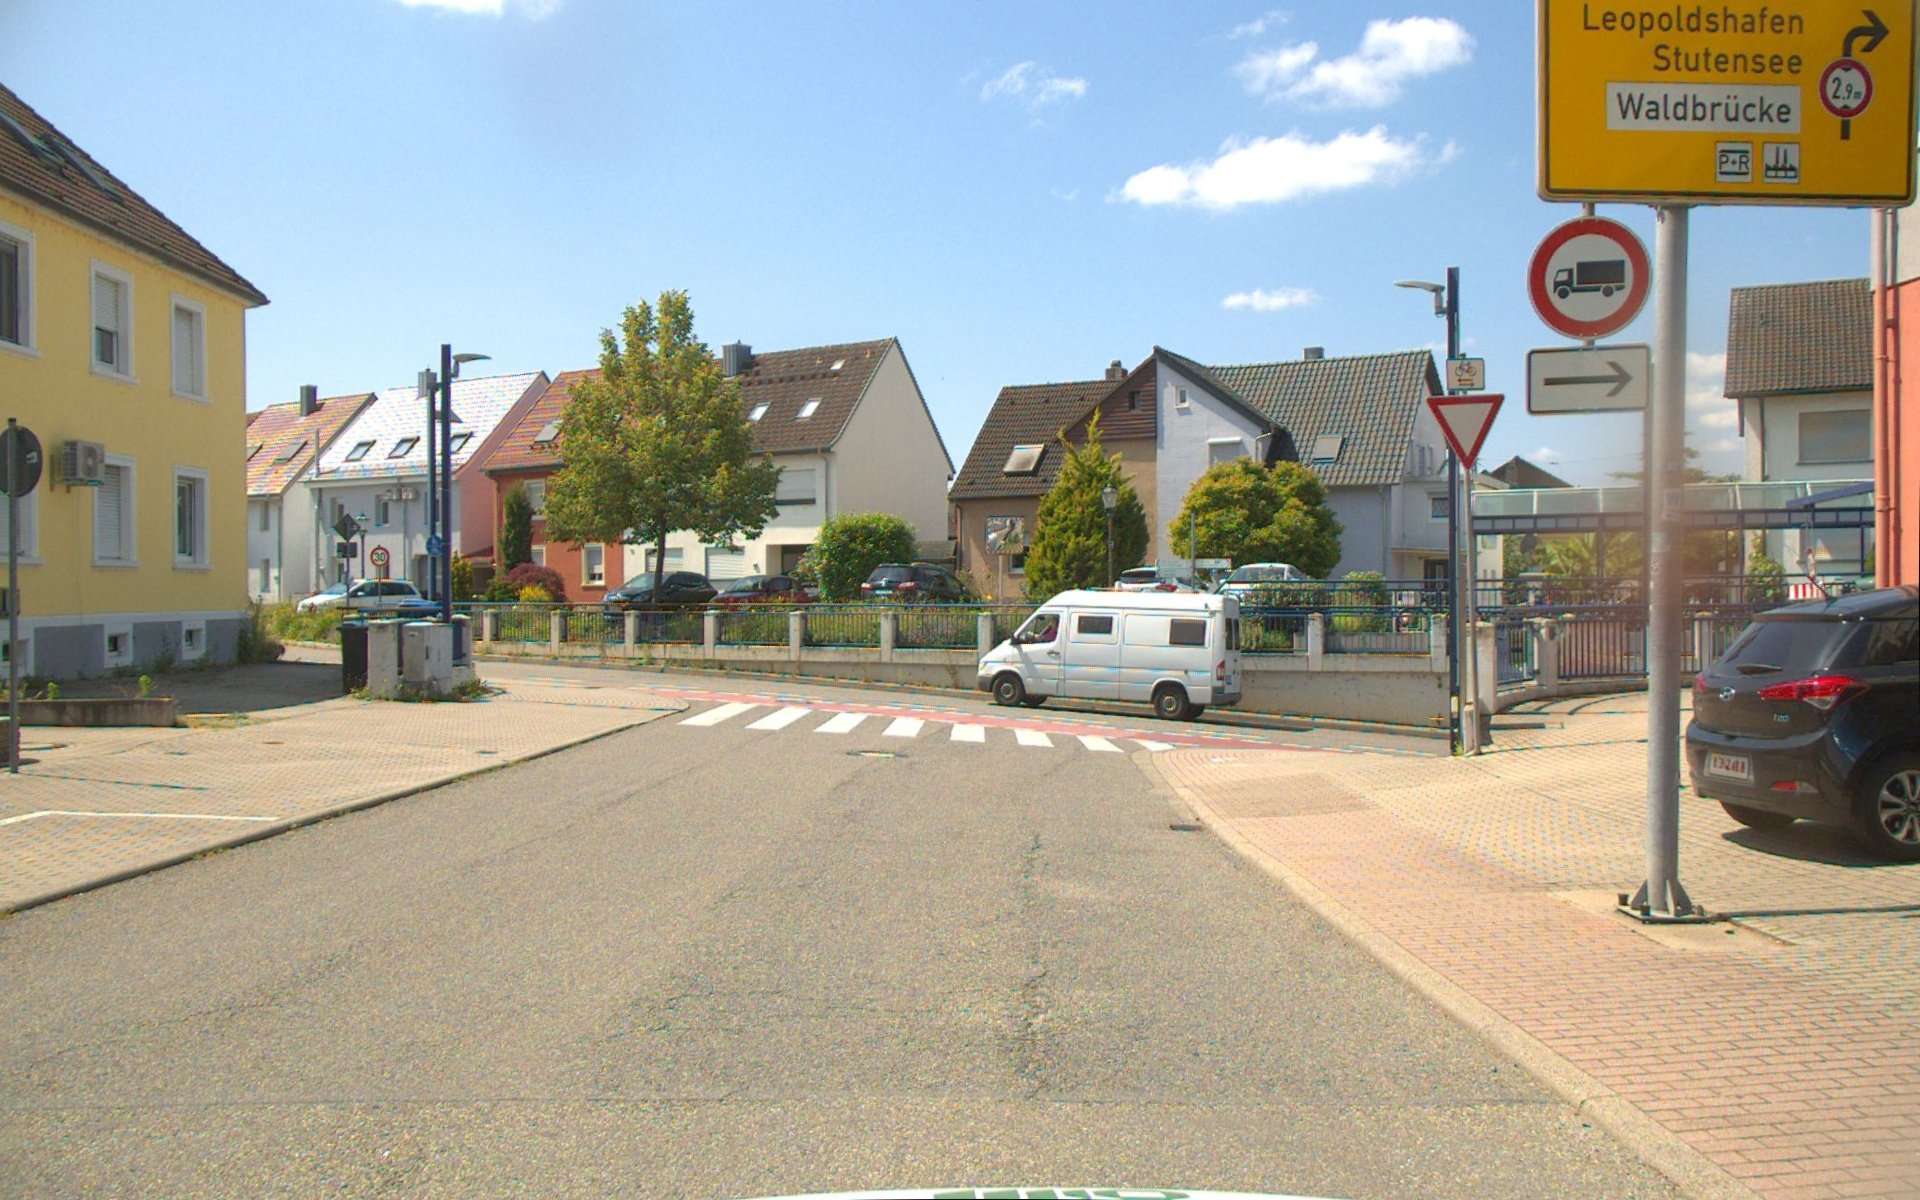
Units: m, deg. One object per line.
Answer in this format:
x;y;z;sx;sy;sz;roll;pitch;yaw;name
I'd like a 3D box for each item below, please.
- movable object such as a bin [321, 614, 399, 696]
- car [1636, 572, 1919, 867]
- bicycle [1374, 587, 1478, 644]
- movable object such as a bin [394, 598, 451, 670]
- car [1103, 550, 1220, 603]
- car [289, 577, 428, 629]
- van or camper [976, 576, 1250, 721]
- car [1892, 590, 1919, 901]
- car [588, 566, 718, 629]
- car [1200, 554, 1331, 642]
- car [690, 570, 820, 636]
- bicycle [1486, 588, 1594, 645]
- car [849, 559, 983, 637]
-9.324;0.843;25.734;0.867;1.247;0.902;0;0;1;movable object such as a bin
6.528;0.553;10.243;3.819;1.516;1.809;-6;-1;-3;car
9.737;0.316;34.608;2.071;1.145;0.333;0;0;20;bicycle
-9.448;0.580;29.100;0.825;1.235;1.272;1;0;-13;movable object such as a bin
4.956;-0.552;40.316;1.789;1.037;3.456;4;0;26;car
-20.535;0.125;56.597;1.711;1.514;4.245;4;0;32;car
3.207;0.990;34.632;5.266;2.676;2.004;3;-2;21;van or camper
6.584;0.507;6.971;4.236;1.464;1.779;-4;-2;-2;car
-8.817;-0.049;47.746;1.831;1.614;3.606;4;0;26;car
7.304;-0.001;39.258;1.955;1.828;4.192;4;0;26;car
-5.621;0.116;45.795;1.831;1.614;3.606;4;0;26;car
11.864;0.328;33.841;2.071;1.145;0.392;0;0;20;bicycle
-1.107;-0.015;43.865;1.831;1.828;3.996;4;0;26;car
